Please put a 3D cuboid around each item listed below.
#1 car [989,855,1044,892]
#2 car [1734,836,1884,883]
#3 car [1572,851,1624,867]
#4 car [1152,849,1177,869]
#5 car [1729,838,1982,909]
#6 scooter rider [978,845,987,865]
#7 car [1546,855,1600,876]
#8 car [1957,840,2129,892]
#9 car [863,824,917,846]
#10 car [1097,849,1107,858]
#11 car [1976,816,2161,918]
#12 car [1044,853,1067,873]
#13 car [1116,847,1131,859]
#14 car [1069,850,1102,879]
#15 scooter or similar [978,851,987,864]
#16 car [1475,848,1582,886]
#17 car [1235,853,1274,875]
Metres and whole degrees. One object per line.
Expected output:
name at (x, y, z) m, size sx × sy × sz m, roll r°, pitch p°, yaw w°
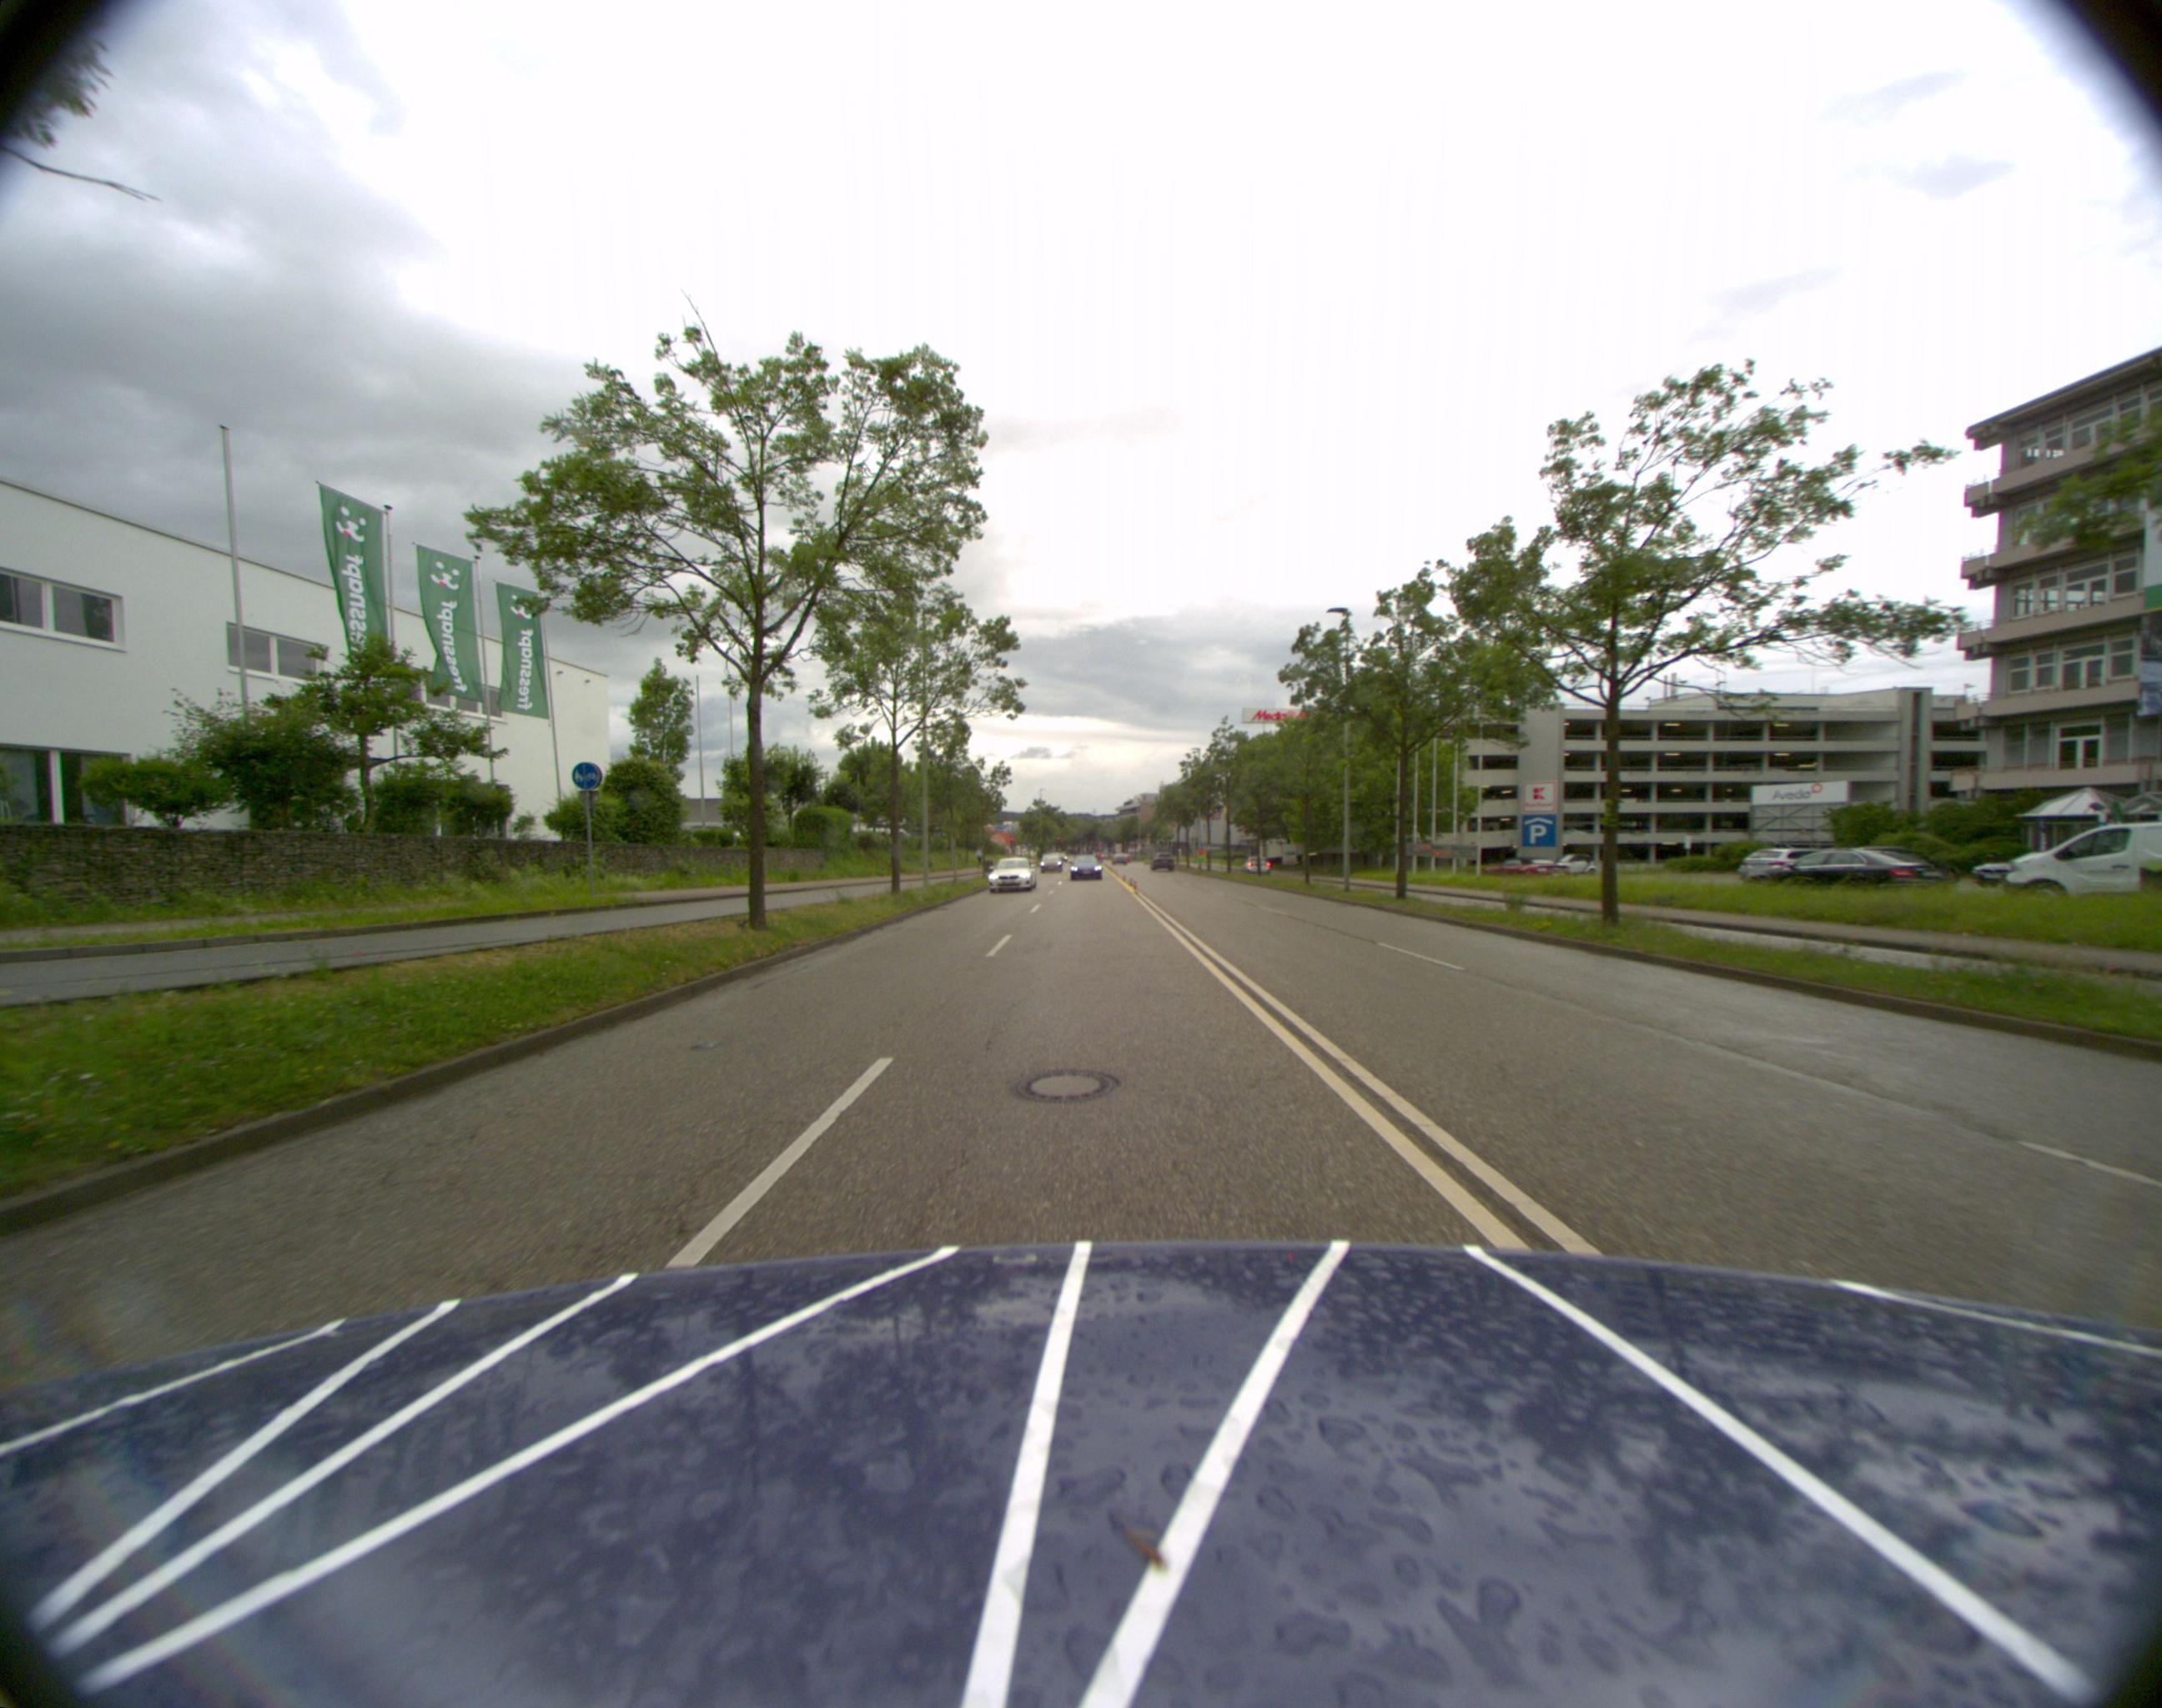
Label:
car at (-2.814, 0.820, 34.332) m, size 1.808 × 1.432 × 4.542 m, roll -2°, pitch 1°, yaw 3°
car at (29.893, 0.242, 31.255) m, size 4.613 × 1.735 × 1.966 m, roll -2°, pitch -1°, yaw -8°
car at (49.811, 0.512, 73.239) m, size 1.756 × 1.454 × 3.834 m, roll -4°, pitch 2°, yaw -44°
car at (7.470, 0.420, 68.595) m, size 1.792 × 1.605 × 4.436 m, roll 1°, pitch 1°, yaw 1°
car at (21.776, 0.531, 21.762) m, size 2.045 × 1.751 × 4.945 m, roll -2°, pitch -1°, yaw -3°
scooter rider at (-9.515, 0.091, 73.178) m, size 0.696 × 1.810 × 0.858 m, roll 1°, pitch 2°, yaw 0°
car at (33.242, 0.798, 51.390) m, size 2.705 × 1.357 × 1.609 m, roll 1°, pitch -1°, yaw -10°
car at (35.726, 0.438, 28.261) m, size 4.513 × 1.735 × 1.899 m, roll -2°, pitch -1°, yaw -8°
car at (-21.336, -2.127, 85.170) m, size 5.625 × 2.130 × 2.120 m, roll 2°, pitch 1°, yaw -7°
car at (3.844, -0.136, 140.725) m, size 1.831 × 1.458 × 4.615 m, roll -2°, pitch 1°, yaw 2°
car at (23.185, 0.242, 16.076) m, size 2.121 × 2.083 × 5.119 m, roll -2°, pitch -1°, yaw -8°
car at (-2.157, 0.771, 65.824) m, size 1.799 × 1.572 × 4.218 m, roll -2°, pitch 1°, yaw 0°
car at (5.325, -0.175, 95.636) m, size 1.671 × 1.402 × 4.377 m, roll 1°, pitch 0°, yaw 1°
car at (0.235, 0.566, 45.717) m, size 1.799 × 1.572 × 4.217 m, roll -2°, pitch 1°, yaw -1°
scooter or similar at (-9.515, 0.329, 73.224) m, size 0.696 × 1.256 × 1.400 m, roll 1°, pitch 1°, yaw 0°
car at (20.951, 0.598, 35.838) m, size 1.938 × 1.599 × 4.710 m, roll -2°, pitch -1°, yaw -5°
car at (13.075, 0.736, 57.641) m, size 1.871 × 1.544 × 4.575 m, roll 2°, pitch 0°, yaw 0°
